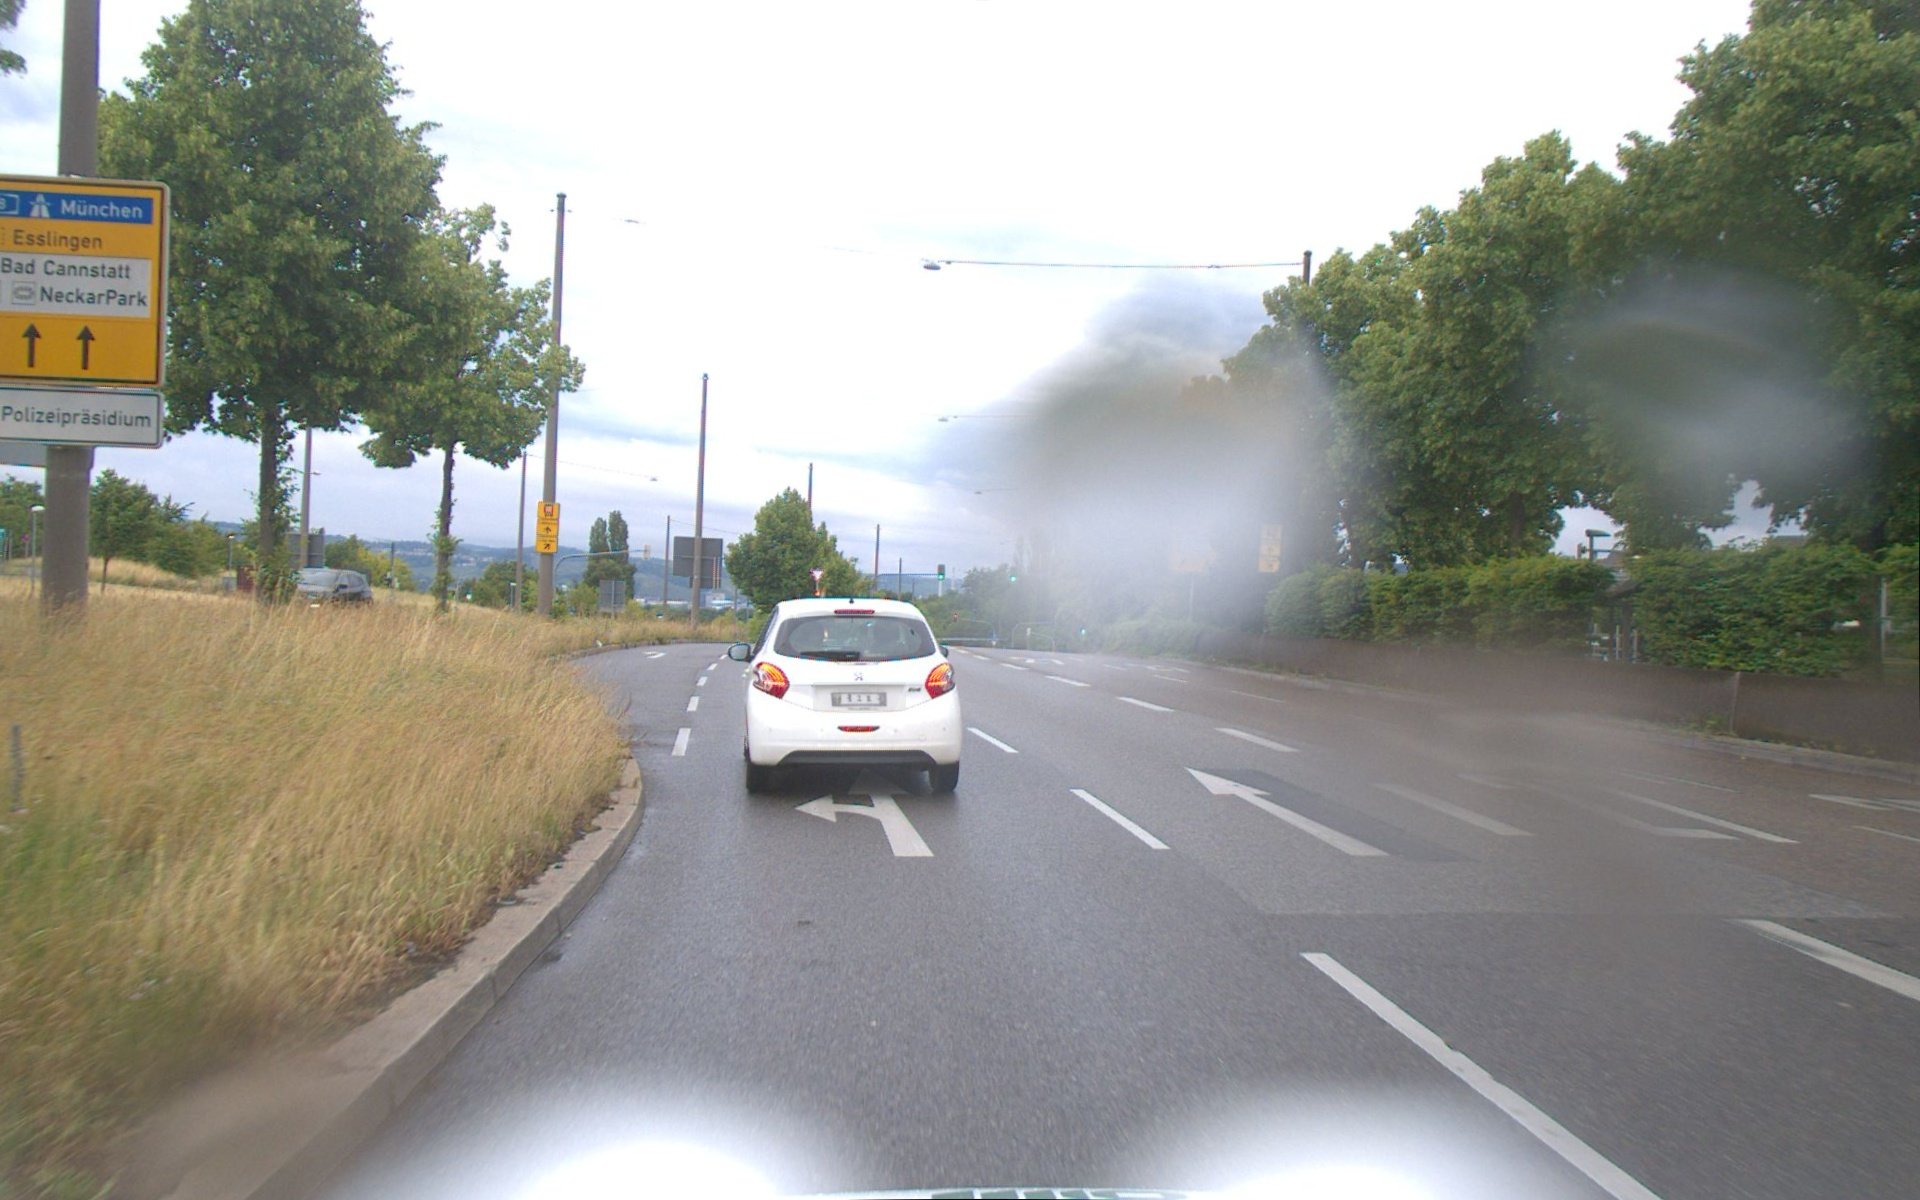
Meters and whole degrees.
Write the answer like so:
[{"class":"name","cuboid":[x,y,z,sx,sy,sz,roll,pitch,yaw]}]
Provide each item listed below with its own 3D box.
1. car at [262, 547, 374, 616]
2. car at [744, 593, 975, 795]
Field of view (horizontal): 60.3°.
[{"class":"car","cuboid":[-17.888,-0.494,46.291,1.732,1.780,3.997,2,0,-4]},{"class":"car","cuboid":[-0.870,0.706,13.915,1.675,1.465,3.687,0,-1,-5]}]
